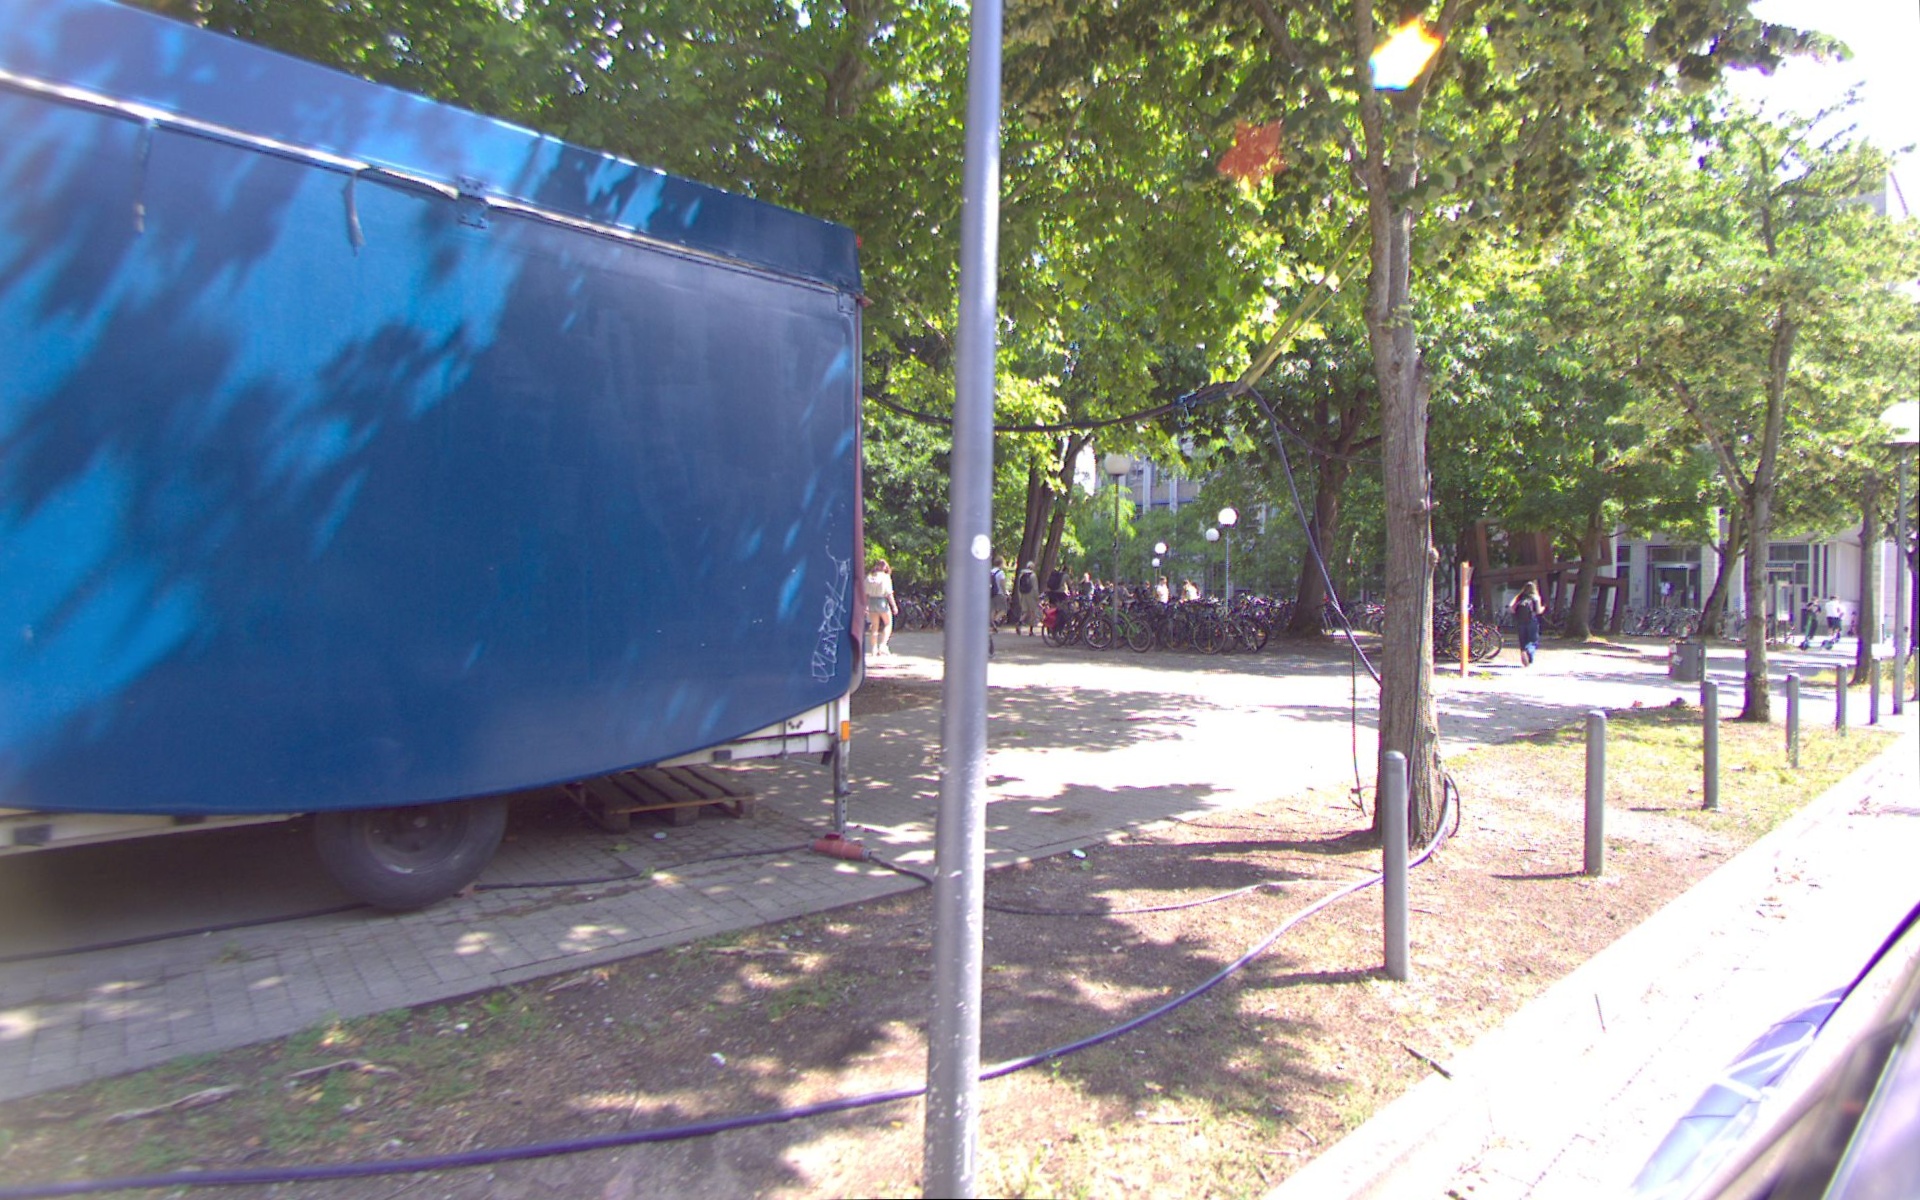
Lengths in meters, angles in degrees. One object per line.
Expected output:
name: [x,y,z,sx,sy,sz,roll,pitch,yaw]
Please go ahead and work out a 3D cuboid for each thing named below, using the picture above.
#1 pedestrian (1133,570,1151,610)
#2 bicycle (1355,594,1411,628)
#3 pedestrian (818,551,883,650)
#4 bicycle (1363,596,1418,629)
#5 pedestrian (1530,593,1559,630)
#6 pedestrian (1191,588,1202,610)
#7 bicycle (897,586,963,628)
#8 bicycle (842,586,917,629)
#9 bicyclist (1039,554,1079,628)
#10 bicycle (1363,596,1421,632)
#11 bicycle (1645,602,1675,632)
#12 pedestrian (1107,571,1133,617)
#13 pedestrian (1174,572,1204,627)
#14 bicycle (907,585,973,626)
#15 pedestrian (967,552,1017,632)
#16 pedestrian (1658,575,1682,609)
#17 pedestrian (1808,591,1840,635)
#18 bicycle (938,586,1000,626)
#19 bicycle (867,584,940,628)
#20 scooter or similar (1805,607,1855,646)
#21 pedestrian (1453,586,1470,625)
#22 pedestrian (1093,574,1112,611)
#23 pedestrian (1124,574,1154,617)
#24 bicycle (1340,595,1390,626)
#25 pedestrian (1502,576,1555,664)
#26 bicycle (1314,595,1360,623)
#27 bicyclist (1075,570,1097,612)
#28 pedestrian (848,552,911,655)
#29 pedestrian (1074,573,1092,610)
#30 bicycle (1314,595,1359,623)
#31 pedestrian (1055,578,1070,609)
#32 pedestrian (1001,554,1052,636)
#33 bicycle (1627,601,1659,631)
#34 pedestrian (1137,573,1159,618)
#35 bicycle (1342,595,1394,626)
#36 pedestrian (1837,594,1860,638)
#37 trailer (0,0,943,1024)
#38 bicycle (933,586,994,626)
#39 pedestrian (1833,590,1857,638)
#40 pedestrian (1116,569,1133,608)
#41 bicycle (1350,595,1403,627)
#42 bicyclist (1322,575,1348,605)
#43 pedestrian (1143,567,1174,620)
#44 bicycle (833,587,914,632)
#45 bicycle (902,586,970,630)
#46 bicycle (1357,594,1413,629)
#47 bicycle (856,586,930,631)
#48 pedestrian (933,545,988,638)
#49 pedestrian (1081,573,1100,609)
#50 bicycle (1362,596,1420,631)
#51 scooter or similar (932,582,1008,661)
pedestrian: [8.412,-0.470,46.723,0.732,1.797,0.719,2,0,9]
bicycle: [15.416,0.405,36.912,1.817,1.185,0.352,2,0,13]
pedestrian: [-1.914,-0.006,17.675,0.810,1.682,0.766,1,1,-41]
bicycle: [16.004,0.462,37.681,1.817,1.185,0.352,2,0,13]
pedestrian: [27.547,0.535,47.709,0.734,1.762,0.939,0,0,-7]
pedestrian: [13.645,-0.063,58.411,0.379,1.228,0.403,2,0,-33]
bicycle: [-0.814,0.164,27.272,1.768,1.052,0.474,2,1,28]
bicycle: [-2.020,0.173,25.298,1.943,0.991,0.434,2,1,30]
bicyclist: [2.423,-0.232,24.704,0.526,1.751,1.068,3,1,28]
bicycle: [15.117,0.477,35.421,1.817,1.185,0.352,2,0,13]
bicycle: [27.603,0.684,39.917,1.486,1.099,0.482,3,0,-36]
pedestrian: [6.420,-0.236,40.529,0.742,1.797,0.710,1,0,41]
pedestrian: [7.559,-0.022,33.446,0.706,1.797,0.745,2,0,-5]
bicycle: [-0.558,0.147,28.112,1.815,1.052,0.474,2,1,28]
pedestrian: [0.816,-0.210,25.650,0.828,1.973,1.068,3,1,28]
pedestrian: [37.834,-0.433,53.943,0.793,1.819,0.621,1,0,-9]
pedestrian: [36.006,0.534,42.182,0.795,1.819,0.619,1,0,5]
bicycle: [0.258,0.165,29.034,1.737,1.052,0.474,2,1,28]
bicycle: [-1.488,0.148,26.323,1.943,1.052,0.473,2,1,30]
scooter or similar: [27.018,0.819,31.420,1.333,1.128,0.498,3,0,-16]
pedestrian: [22.688,0.249,45.799,0.426,1.725,0.929,-1,-2,44]
pedestrian: [7.104,-0.387,50.420,0.730,1.797,0.721,2,0,-3]
pedestrian: [7.605,-0.203,43.015,0.954,1.797,0.963,2,0,27]
bicycle: [16.396,0.406,40.989,1.815,1.185,0.412,2,0,10]
pedestrian: [10.691,0.363,19.026,0.911,1.590,0.569,-1,3,-41]
bicycle: [16.534,0.395,44.380,1.812,1.185,0.345,2,0,4]
bicyclist: [4.514,-0.325,36.337,0.732,1.465,0.802,2,0,6]
pedestrian: [-1.369,0.049,17.112,0.774,1.682,0.698,1,1,-41]
pedestrian: [6.096,-0.411,50.293,0.730,1.797,0.721,2,0,-3]
bicycle: [16.377,0.383,44.043,1.812,1.185,0.345,2,0,4]
pedestrian: [5.206,-0.357,51.591,0.679,1.530,0.514,4,2,5]
pedestrian: [1.666,-0.139,25.171,0.828,1.973,1.068,3,1,28]
bicycle: [27.075,0.626,40.103,1.664,1.099,0.482,3,0,-36]
pedestrian: [7.582,-0.175,40.765,0.735,1.797,0.717,2,0,18]
bicycle: [16.319,0.432,40.499,1.815,1.185,0.412,2,0,10]
pedestrian: [36.590,0.651,41.665,0.533,1.751,0.613,1,0,-40]
trailer: [-3.277,-0.463,3.816,6.151,3.089,2.695,0,2,-43]
bicycle: [0.097,0.167,28.715,1.737,1.052,0.345,2,1,28]
pedestrian: [35.758,0.540,40.893,0.675,1.915,0.685,-1,0,-44]
pedestrian: [7.618,-0.534,46.853,0.732,1.797,0.719,2,0,9]
bicycle: [16.091,0.426,39.144,1.815,1.185,0.412,2,0,10]
bicyclist: [20.645,-0.561,55.668,0.823,1.562,0.959,5,0,-40]
pedestrian: [6.796,-0.222,34.657,0.742,1.797,0.710,1,0,41]
bicycle: [-2.086,0.205,24.329,1.943,0.991,0.606,2,1,30]
bicycle: [-0.639,0.193,26.271,1.768,1.052,0.430,2,1,28]
bicycle: [15.346,0.414,36.562,1.817,1.185,0.352,2,0,13]
bicycle: [-1.716,0.192,25.623,1.943,1.052,0.430,2,1,30]
pedestrian: [0.017,-0.188,21.116,0.810,1.878,0.766,1,1,-41]
pedestrian: [6.741,-0.466,52.338,0.729,1.797,0.722,2,0,-16]
bicycle: [15.230,0.471,35.778,1.817,1.185,0.352,2,0,13]
scooter or similar: [0.170,0.328,16.515,1.272,1.234,0.425,0,1,-41]
